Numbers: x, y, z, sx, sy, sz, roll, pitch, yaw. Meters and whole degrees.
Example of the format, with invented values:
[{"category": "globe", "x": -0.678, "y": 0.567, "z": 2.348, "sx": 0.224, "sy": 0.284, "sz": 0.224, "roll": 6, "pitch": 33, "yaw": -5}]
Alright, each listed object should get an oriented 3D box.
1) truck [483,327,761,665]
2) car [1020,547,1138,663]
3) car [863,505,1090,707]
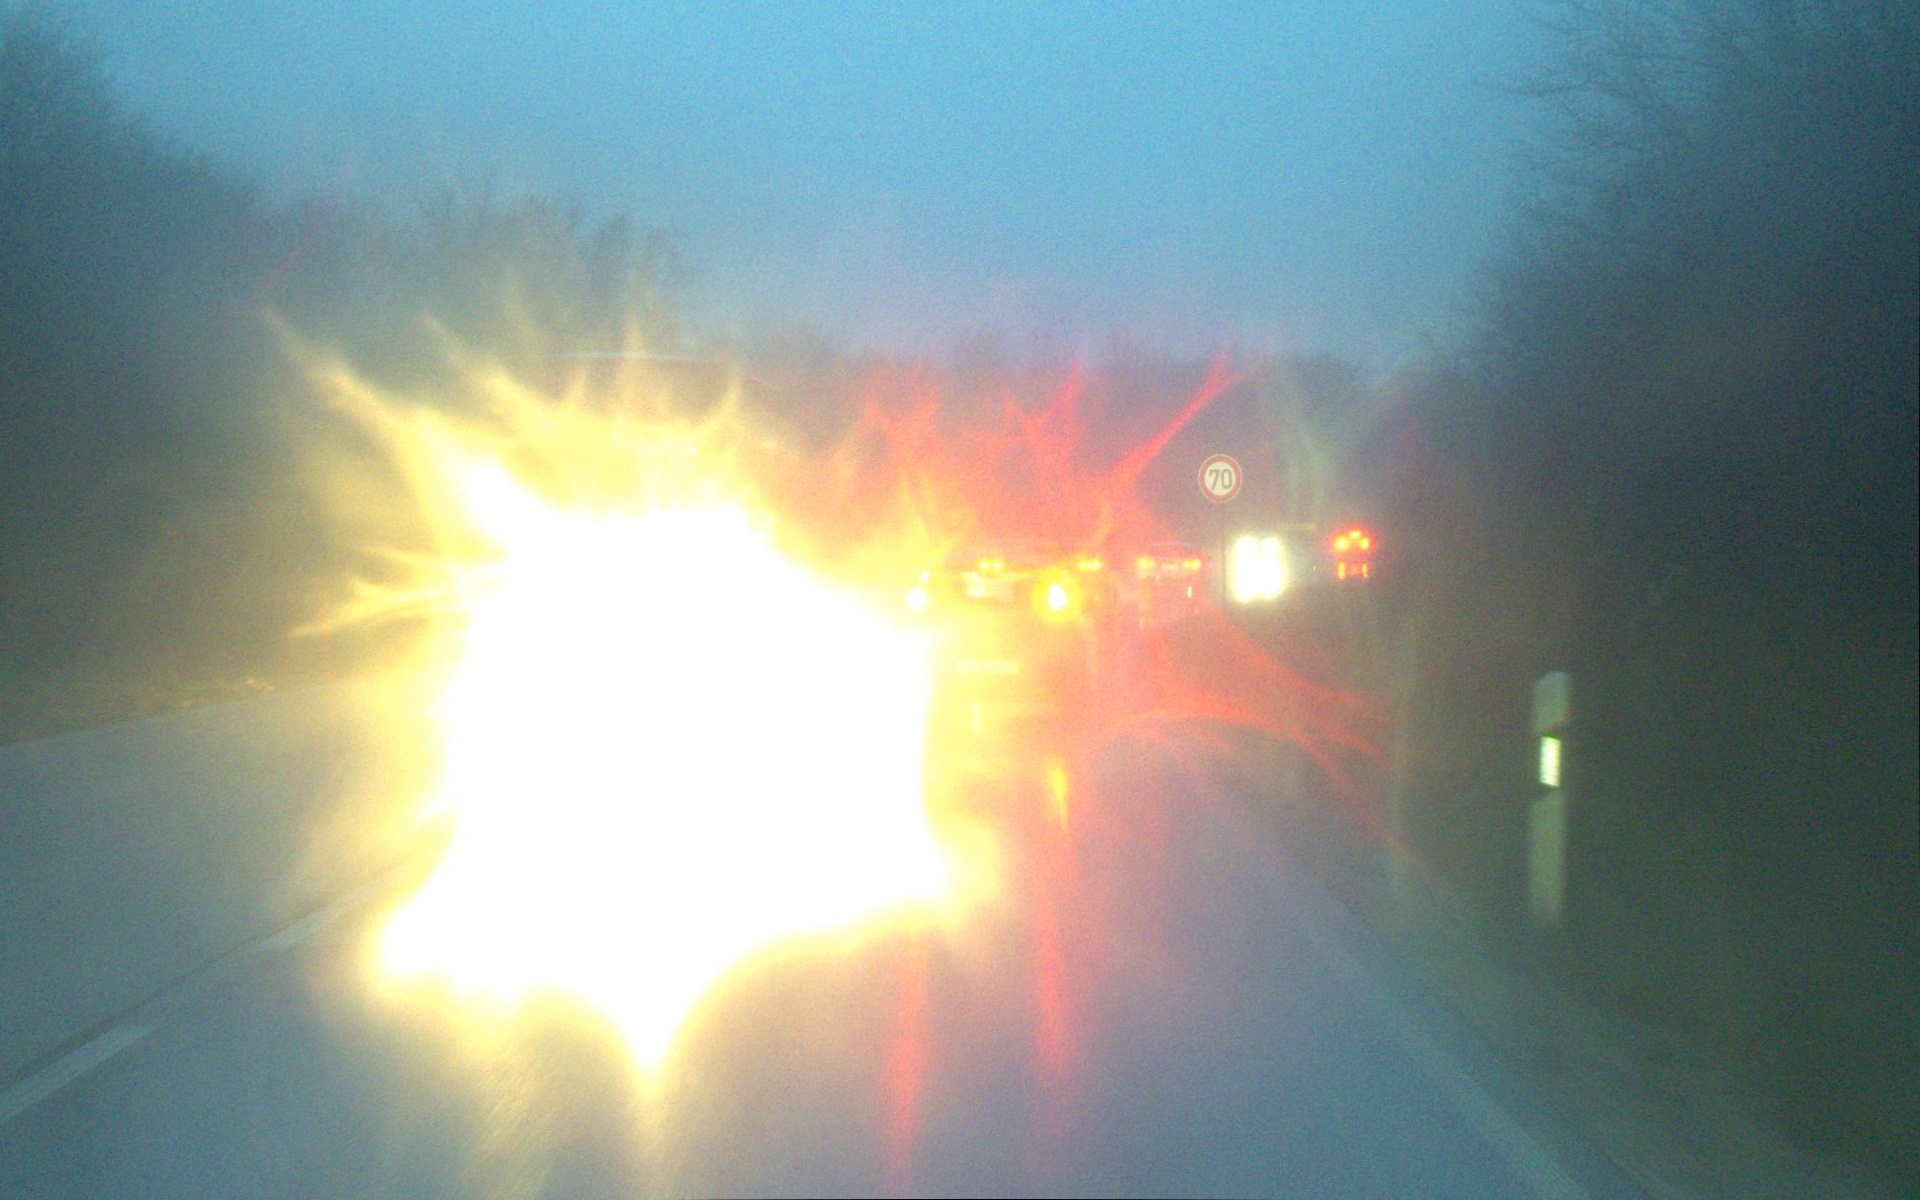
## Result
[{"category": "truck", "x": -3.979, "y": -1.248, "z": 42.250, "sx": 2.821, "sy": 3.703, "sz": 8.535, "roll": -1, "pitch": 1, "yaw": -2}, {"category": "car", "x": 2.227, "y": 0.062, "z": 63.448, "sx": 1.994, "sy": 2.007, "sz": 4.000, "roll": -1, "pitch": 1, "yaw": 4}, {"category": "car", "x": 0.080, "y": 0.002, "z": 30.226, "sx": 1.727, "sy": 1.637, "sz": 4.001, "roll": -1, "pitch": 1, "yaw": -3}]
